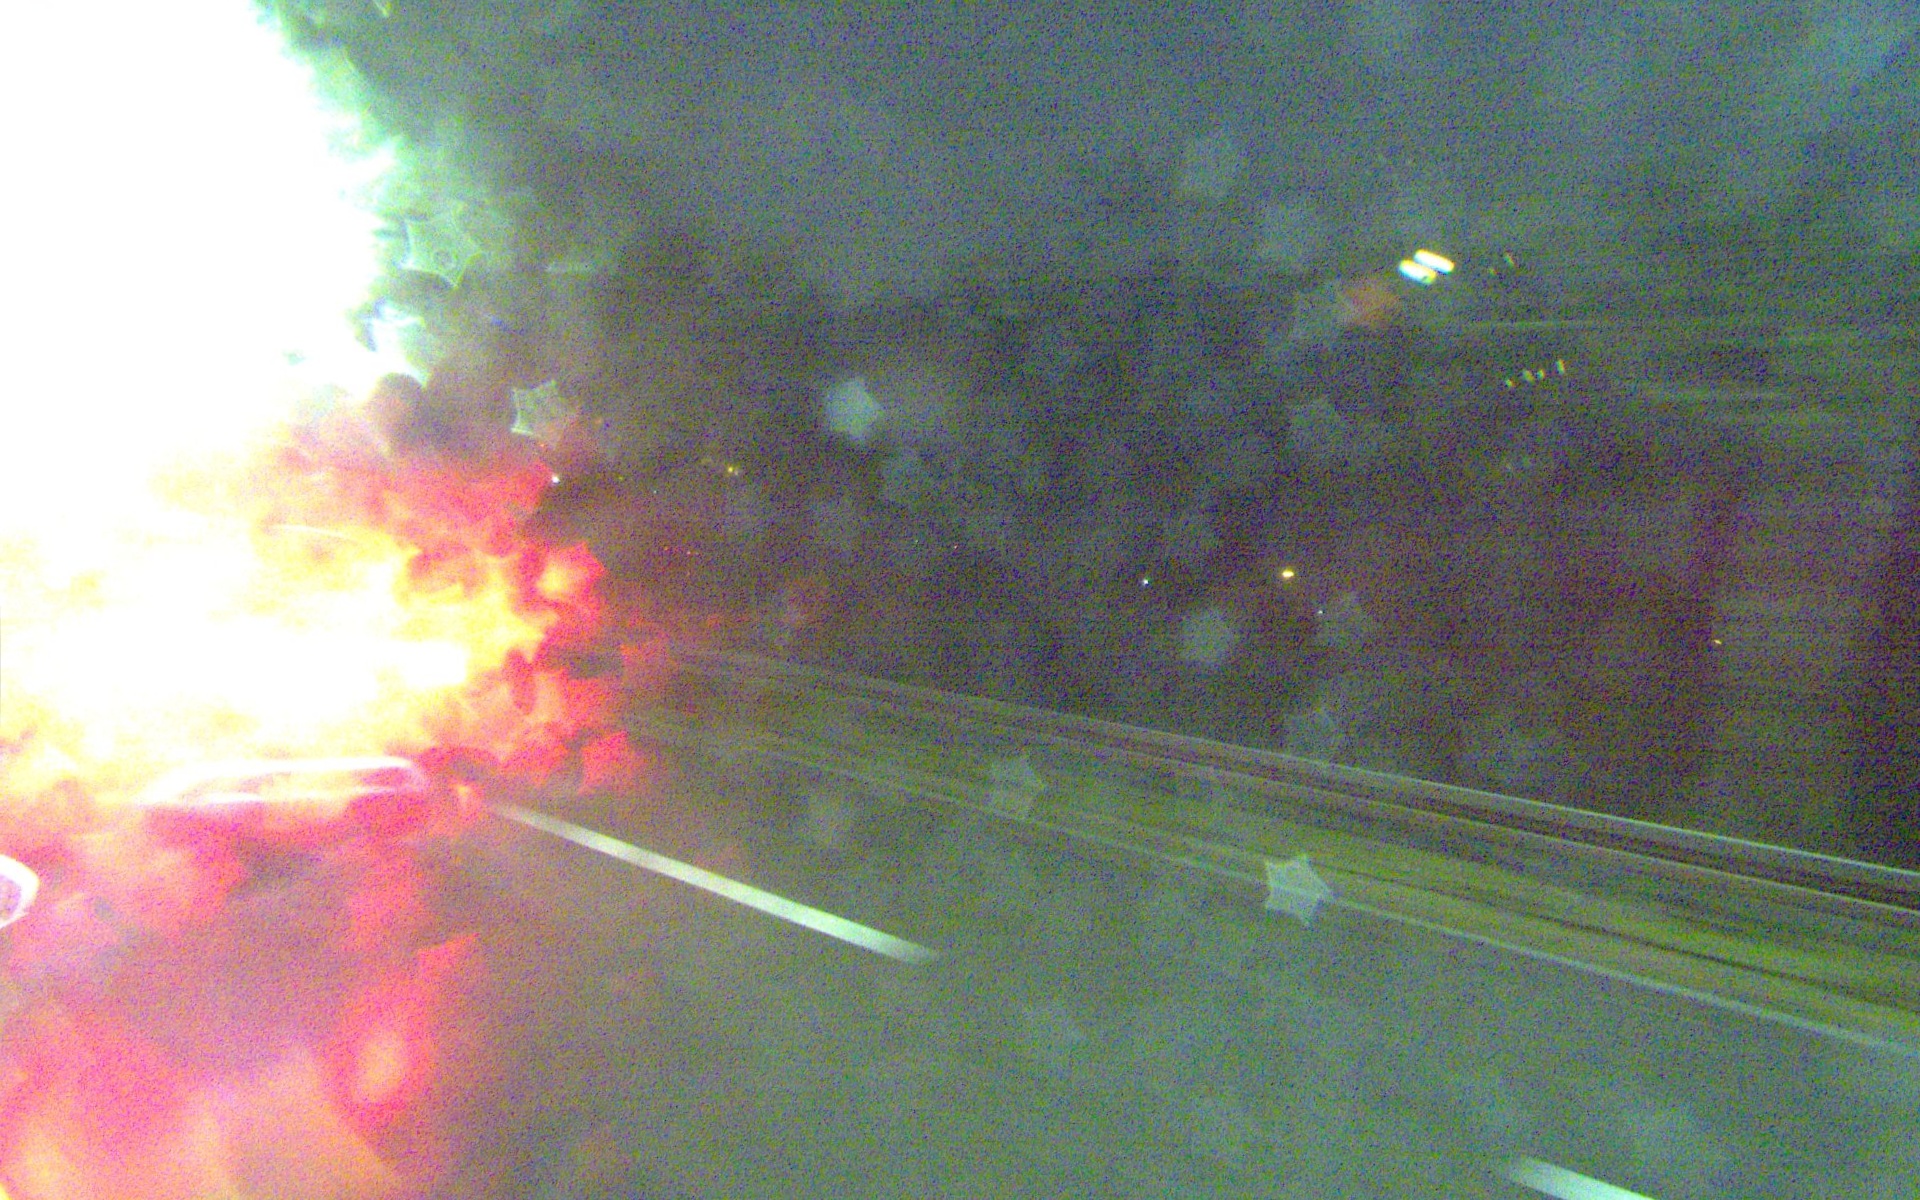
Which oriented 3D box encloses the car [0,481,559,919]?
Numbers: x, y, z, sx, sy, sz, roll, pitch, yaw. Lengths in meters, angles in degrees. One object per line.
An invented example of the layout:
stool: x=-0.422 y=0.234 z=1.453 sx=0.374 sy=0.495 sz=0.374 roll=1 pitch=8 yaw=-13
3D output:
car: x=-4.376 y=0.269 z=5.484 sx=3.934 sy=1.542 sz=1.997 roll=7 pitch=-1 yaw=32

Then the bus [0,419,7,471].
bus: x=-26.147 y=-3.002 z=24.598 sx=8.923 sy=3.250 sz=3.041 roll=6 pitch=-2 yaw=41
